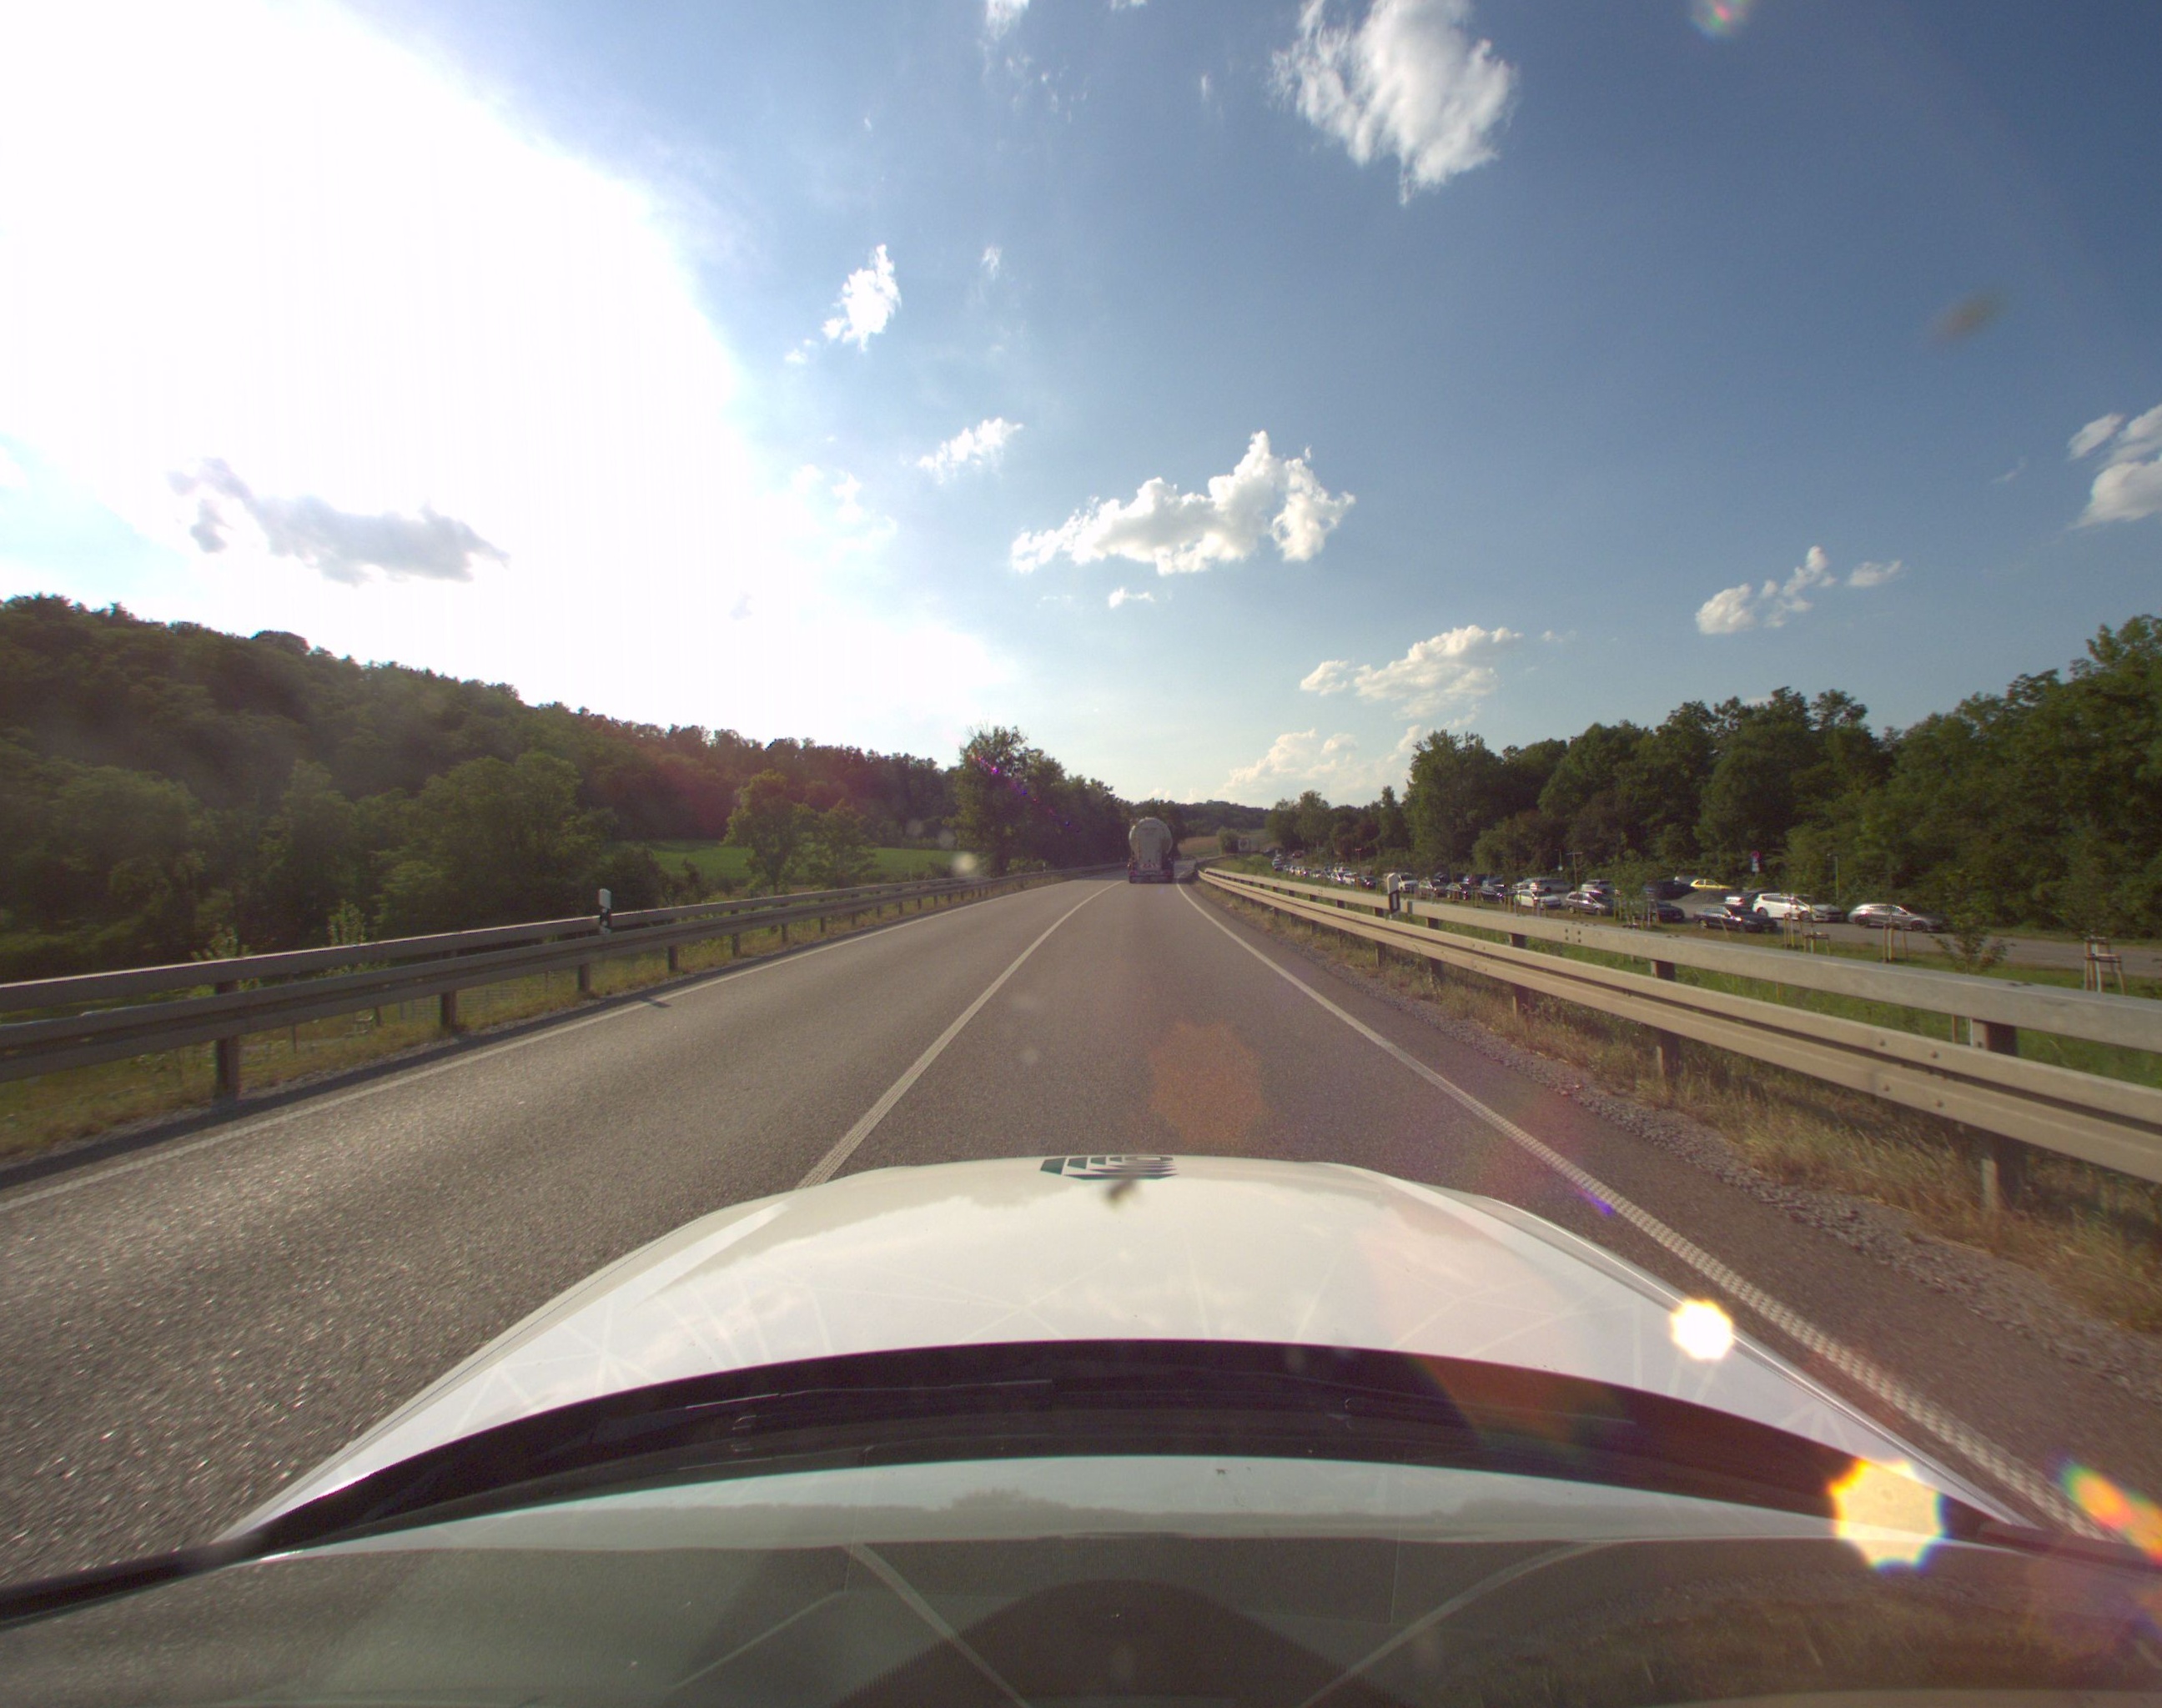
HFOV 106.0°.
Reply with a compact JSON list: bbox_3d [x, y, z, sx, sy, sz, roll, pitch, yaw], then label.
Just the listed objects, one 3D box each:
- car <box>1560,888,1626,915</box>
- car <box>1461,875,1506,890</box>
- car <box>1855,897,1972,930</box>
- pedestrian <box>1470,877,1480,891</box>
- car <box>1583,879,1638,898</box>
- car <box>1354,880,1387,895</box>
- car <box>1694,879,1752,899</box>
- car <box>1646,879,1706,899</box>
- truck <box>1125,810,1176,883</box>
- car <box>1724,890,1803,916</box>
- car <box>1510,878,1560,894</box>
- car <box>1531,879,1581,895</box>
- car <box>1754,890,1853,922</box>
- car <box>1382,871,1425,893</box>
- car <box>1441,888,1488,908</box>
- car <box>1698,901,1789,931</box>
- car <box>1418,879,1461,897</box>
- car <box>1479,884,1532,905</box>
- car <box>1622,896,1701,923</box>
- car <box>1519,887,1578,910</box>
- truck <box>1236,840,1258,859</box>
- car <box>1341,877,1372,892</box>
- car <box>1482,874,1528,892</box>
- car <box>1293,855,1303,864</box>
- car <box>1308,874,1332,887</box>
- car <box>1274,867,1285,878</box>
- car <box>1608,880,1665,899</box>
[{"bbox_3d":[38.072,3.521,60.686,1.817,1.658,4.244,-4,0,-9],"label":"car"},{"bbox_3d":[45.568,3.256,92.183,4.227,1.604,1.830,-1,-1,-6],"label":"car"},{"bbox_3d":[44.513,3.167,43.687,1.653,1.496,4.213,-2,-1,-7],"label":"car"},{"bbox_3d":[43.801,3.332,90.543,0.910,1.471,0.894,-4,0,29],"label":"pedestrian"},{"bbox_3d":[48.183,3.102,74.134,4.409,1.456,1.726,-2,0,-15],"label":"car"},{"bbox_3d":[34.937,4.020,98.425,1.889,1.482,4.775,-5,1,-5],"label":"car"},{"bbox_3d":[54.115,2.949,68.719,1.497,1.456,3.656,-3,0,-16],"label":"car"},{"bbox_3d":[49.978,2.917,68.441,4.235,1.456,1.611,-3,0,-12],"label":"car"},{"bbox_3d":[4.510,-0.388,53.342,2.879,4.143,13.187,-1,0,5],"label":"truck"},{"bbox_3d":[46.987,3.357,56.090,4.227,1.456,1.614,-3,0,-6],"label":"car"},{"bbox_3d":[45.920,3.227,82.417,4.234,1.498,1.766,-1,0,-11],"label":"car"},{"bbox_3d":[46.337,3.192,79.477,4.235,1.456,1.611,-1,-1,-12],"label":"car"},{"bbox_3d":[44.032,3.125,49.803,1.651,1.666,4.701,-2,-1,-4],"label":"car"},{"bbox_3d":[35.460,3.006,89.594,2.116,2.017,5.370,-5,1,-5],"label":"car"},{"bbox_3d":[36.475,4.150,77.577,1.817,1.482,4.382,-4,1,-9],"label":"car"},{"bbox_3d":[39.043,3.642,48.139,1.653,1.496,4.213,-2,-1,-7],"label":"car"},{"bbox_3d":[36.348,3.450,82.778,1.889,1.482,4.775,-5,1,-5],"label":"car"},{"bbox_3d":[37.073,3.521,71.296,1.817,1.482,4.382,-4,1,-9],"label":"car"},{"bbox_3d":[38.706,3.690,54.449,1.817,1.401,4.244,-4,1,-9],"label":"car"},{"bbox_3d":[37.708,3.590,65.795,1.817,1.482,4.244,-4,1,-9],"label":"car"},{"bbox_3d":[39.369,-1.217,192.891,3.157,4.227,13.236,-2,0,19],"label":"truck"},{"bbox_3d":[35.193,3.903,104.199,1.889,1.559,4.775,-5,1,-5],"label":"car"},{"bbox_3d":[45.967,3.116,88.344,4.234,1.742,1.827,-1,0,-11],"label":"car"},{"bbox_3d":[49.821,1.324,187.088,1.878,1.686,5.106,-5,1,13],"label":"car"},{"bbox_3d":[35.653,3.956,121.626,1.887,1.559,4.780,-5,1,-1],"label":"car"},{"bbox_3d":[38.044,3.555,156.394,1.878,1.559,4.801,-5,1,13],"label":"car"},{"bbox_3d":[48.855,3.083,71.634,4.235,1.456,1.611,-2,0,-12],"label":"car"}]
